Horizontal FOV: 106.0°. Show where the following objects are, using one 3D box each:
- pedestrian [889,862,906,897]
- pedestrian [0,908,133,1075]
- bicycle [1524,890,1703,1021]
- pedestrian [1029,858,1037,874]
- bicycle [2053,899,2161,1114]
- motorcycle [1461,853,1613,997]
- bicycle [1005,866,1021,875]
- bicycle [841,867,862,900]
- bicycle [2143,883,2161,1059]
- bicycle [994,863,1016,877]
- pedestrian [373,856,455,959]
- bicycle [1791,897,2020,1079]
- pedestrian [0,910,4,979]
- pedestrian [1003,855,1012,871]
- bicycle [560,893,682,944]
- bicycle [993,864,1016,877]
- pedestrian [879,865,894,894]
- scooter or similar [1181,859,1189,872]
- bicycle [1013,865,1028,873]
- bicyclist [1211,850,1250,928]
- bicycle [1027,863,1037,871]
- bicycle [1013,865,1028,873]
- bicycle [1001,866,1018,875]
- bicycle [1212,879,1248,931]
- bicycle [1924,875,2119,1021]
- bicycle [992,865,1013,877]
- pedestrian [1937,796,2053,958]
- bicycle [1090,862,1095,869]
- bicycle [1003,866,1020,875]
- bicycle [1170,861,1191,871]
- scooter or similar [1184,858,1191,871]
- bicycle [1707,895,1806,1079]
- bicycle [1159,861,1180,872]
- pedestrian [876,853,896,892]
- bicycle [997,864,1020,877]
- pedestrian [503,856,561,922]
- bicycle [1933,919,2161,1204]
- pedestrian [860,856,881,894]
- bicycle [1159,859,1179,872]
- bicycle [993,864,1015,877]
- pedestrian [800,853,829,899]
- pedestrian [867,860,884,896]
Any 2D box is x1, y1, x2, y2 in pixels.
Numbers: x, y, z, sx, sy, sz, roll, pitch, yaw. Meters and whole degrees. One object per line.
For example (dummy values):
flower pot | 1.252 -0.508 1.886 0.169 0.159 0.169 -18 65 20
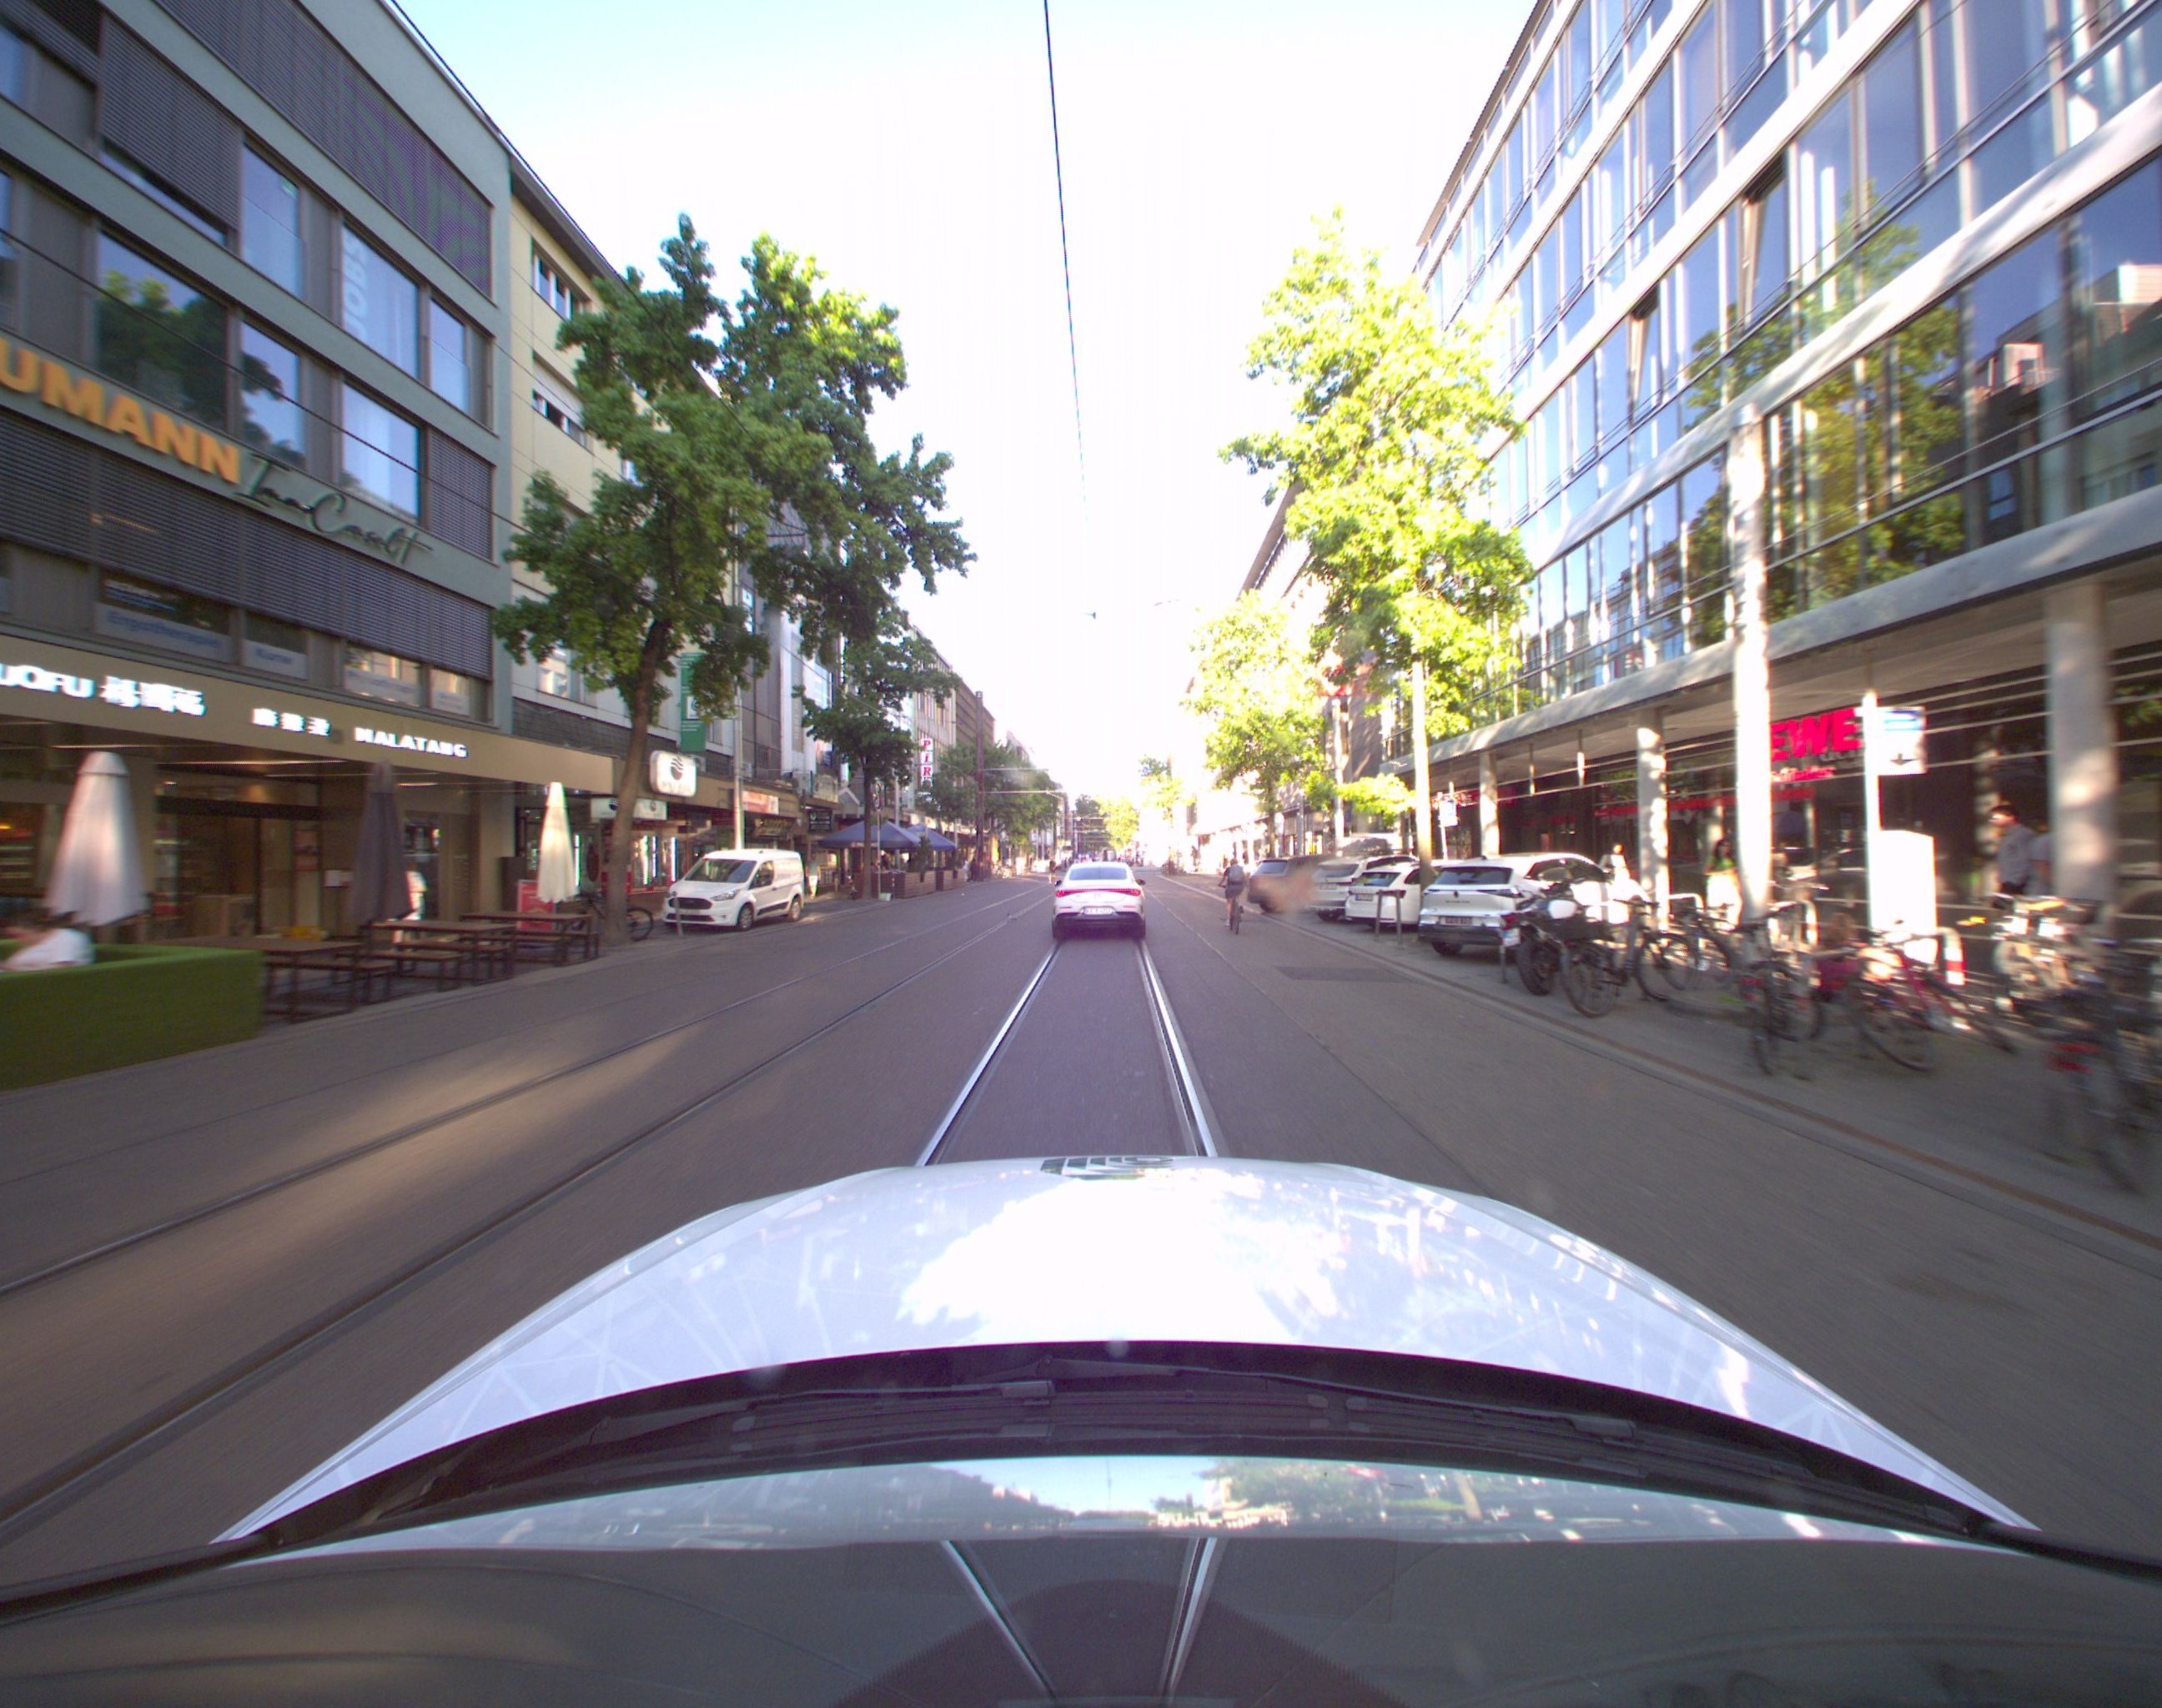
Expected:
pedestrian | -7.393 1.020 32.774 0.547 1.356 0.583 0 -1 1
pedestrian | -8.513 1.073 6.600 0.654 1.193 0.798 2 0 1
bicycle | 5.583 1.003 8.516 1.901 1.119 0.661 -3 -1 -27
pedestrian | -5.337 1.313 90.698 0.784 1.801 0.845 -1 -1 3
bicycle | 6.928 0.910 5.106 1.679 1.074 0.726 -4 1 -28
motorcycle | 5.684 0.800 10.080 2.332 1.510 0.849 -3 -1 -42
bicycle | -6.335 1.514 75.634 1.486 0.783 0.345 0 -1 3
bicycle | -8.648 1.095 30.701 0.699 1.121 2.075 2 0 -15
bicycle | 8.175 0.790 5.601 1.273 1.173 0.860 -4 1 -29
bicycle | -6.574 1.379 70.484 1.838 1.141 0.377 0 -1 3
pedestrian | -10.565 0.829 12.921 0.645 1.574 0.700 2 -1 2
bicycle | 6.308 0.949 6.219 1.697 1.106 0.627 -4 -1 -25
pedestrian | -8.560 1.033 5.756 0.654 1.244 0.873 2 0 1
pedestrian | -8.236 1.022 91.021 0.789 1.767 0.533 -1 -1 -23
bicycle | -8.912 1.225 15.845 0.826 0.865 1.872 1 0 40
bicycle | -6.274 1.365 66.735 1.784 1.077 0.377 0 -1 -2
pedestrian | -8.163 1.060 34.159 0.493 1.228 0.535 0 -1 1
scooter or similar | 10.067 1.116 78.706 0.527 1.277 0.658 -3 -1 -9
bicycle | -6.270 1.559 83.909 1.486 0.783 0.345 0 -1 3
bicyclist | 3.233 0.726 17.550 0.772 1.613 0.915 1 0 11
bicycle | -6.447 1.736 106.895 0.713 1.010 2.048 -1 0 16
bicycle | -6.222 1.555 84.278 1.486 0.783 0.345 0 -1 3
bicycle | -6.493 1.496 74.098 1.486 0.841 0.345 0 -1 3
bicycle | 3.272 1.077 17.779 0.714 0.995 2.065 1 0 11
bicycle | 8.687 0.810 7.516 1.780 1.106 0.627 -4 -1 -24
bicycle | -6.127 1.350 63.444 1.586 0.930 0.378 0 -1 8
pedestrian | 11.333 0.281 10.118 0.580 1.919 0.664 -3 -1 4
bicycle | 1.756 1.761 126.630 0.797 1.142 2.257 1 0 1
bicycle | -6.409 1.506 75.031 1.486 0.783 0.345 0 -1 3
bicycle | 10.493 1.263 85.850 2.114 1.096 0.607 -1 -1 -11
scooter or similar | 10.206 1.020 78.073 0.491 1.277 0.658 -3 -1 -9
bicycle | 5.404 0.974 6.490 0.475 1.163 1.705 -5 -1 41
bicycle | 9.412 1.312 86.548 2.113 1.096 0.608 0 -1 -10
pedestrian | -8.837 0.828 36.847 0.715 1.724 0.675 0 -1 1
bicycle | -6.038 1.408 67.982 1.841 1.077 0.377 0 -1 -2
pedestrian | -12.761 0.798 18.960 0.767 1.467 0.765 2 -1 0
bicycle | 5.394 0.988 4.277 1.567 1.088 0.861 -4 1 -28
pedestrian | -9.060 0.889 35.036 0.671 1.607 0.720 0 -1 1
bicycle | 9.052 1.186 83.572 1.908 1.281 0.608 -3 -1 -10
bicycle | -6.249 1.345 66.297 1.784 1.077 0.377 0 -1 -2
pedestrian | -9.983 0.796 30.523 0.664 1.686 1.005 1 0 2
pedestrian | -8.285 0.970 32.850 0.547 1.429 0.583 0 -1 1
